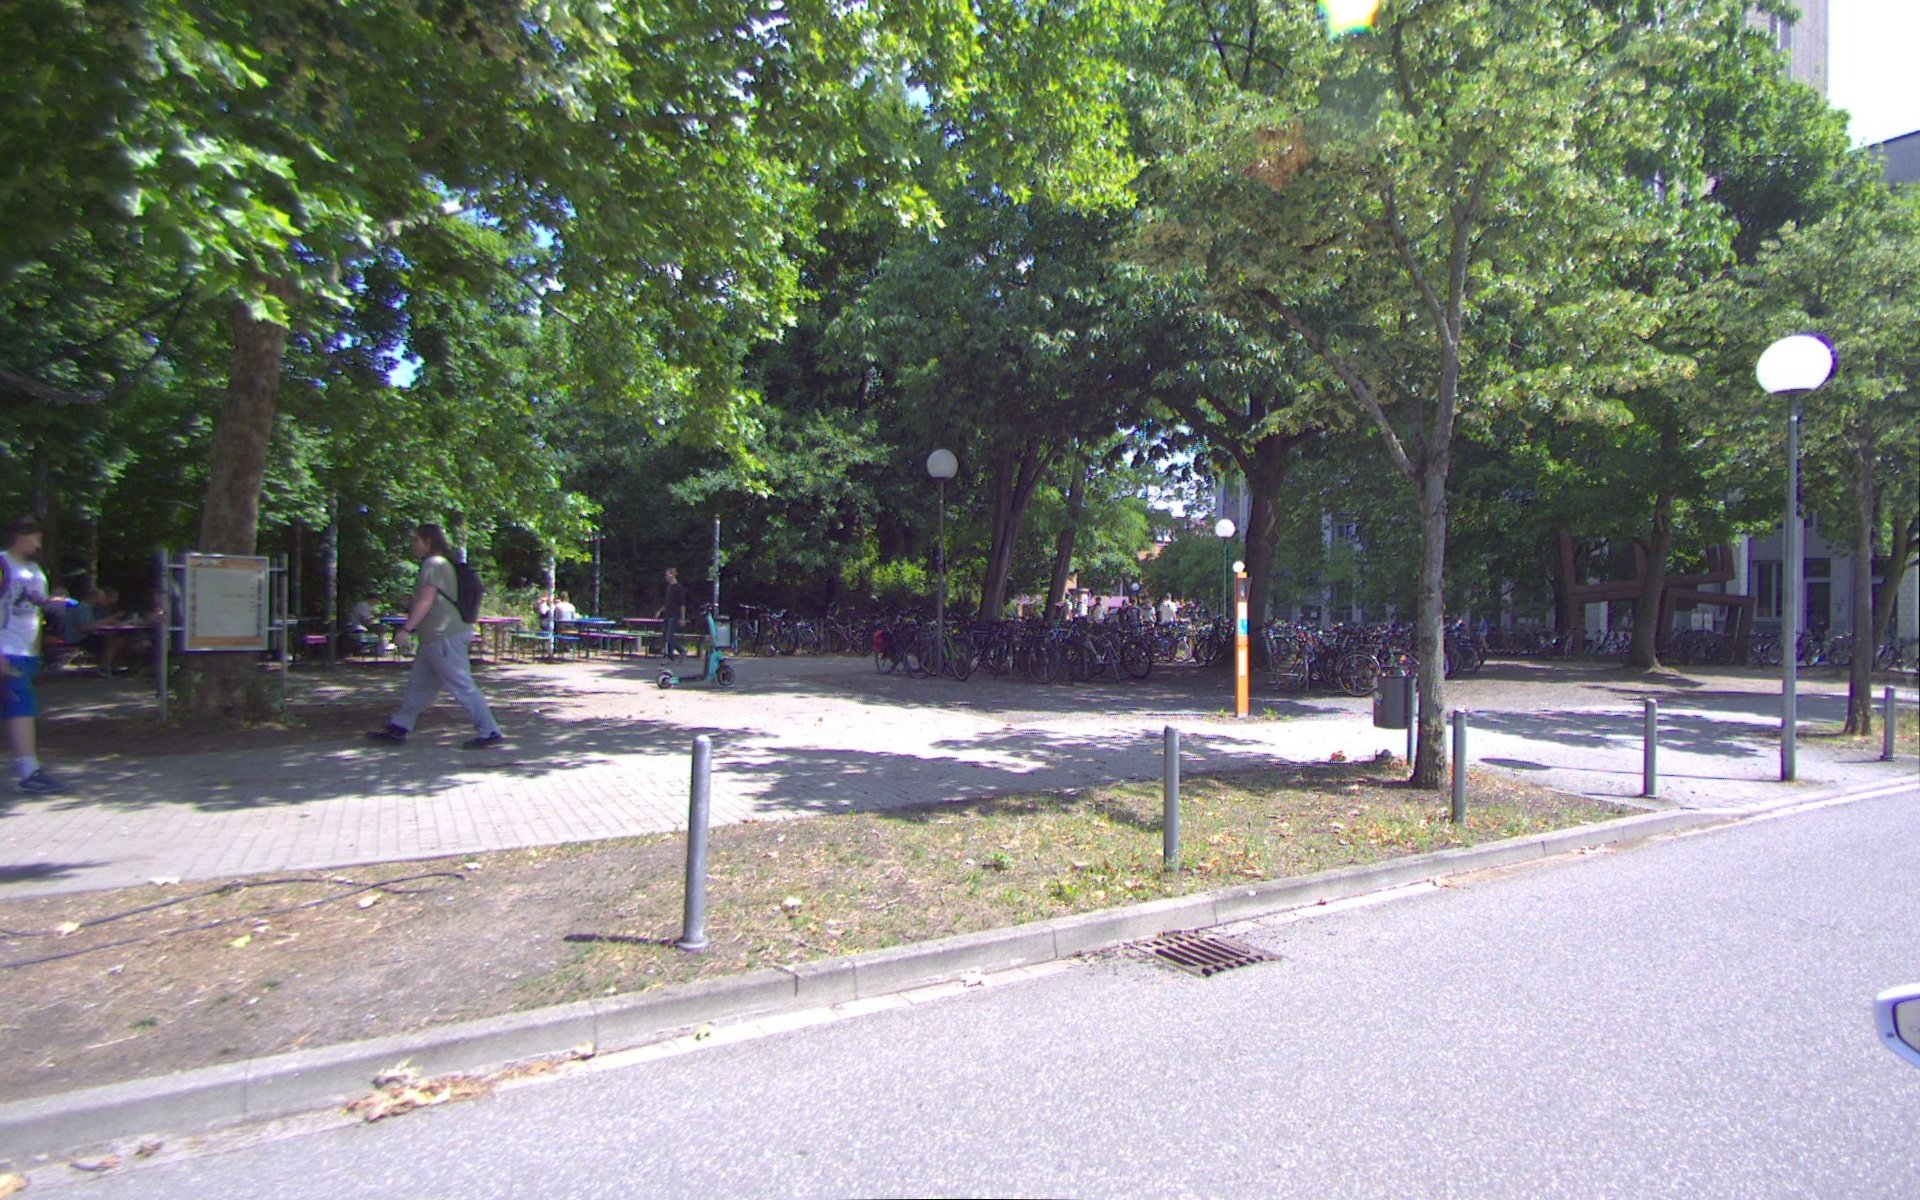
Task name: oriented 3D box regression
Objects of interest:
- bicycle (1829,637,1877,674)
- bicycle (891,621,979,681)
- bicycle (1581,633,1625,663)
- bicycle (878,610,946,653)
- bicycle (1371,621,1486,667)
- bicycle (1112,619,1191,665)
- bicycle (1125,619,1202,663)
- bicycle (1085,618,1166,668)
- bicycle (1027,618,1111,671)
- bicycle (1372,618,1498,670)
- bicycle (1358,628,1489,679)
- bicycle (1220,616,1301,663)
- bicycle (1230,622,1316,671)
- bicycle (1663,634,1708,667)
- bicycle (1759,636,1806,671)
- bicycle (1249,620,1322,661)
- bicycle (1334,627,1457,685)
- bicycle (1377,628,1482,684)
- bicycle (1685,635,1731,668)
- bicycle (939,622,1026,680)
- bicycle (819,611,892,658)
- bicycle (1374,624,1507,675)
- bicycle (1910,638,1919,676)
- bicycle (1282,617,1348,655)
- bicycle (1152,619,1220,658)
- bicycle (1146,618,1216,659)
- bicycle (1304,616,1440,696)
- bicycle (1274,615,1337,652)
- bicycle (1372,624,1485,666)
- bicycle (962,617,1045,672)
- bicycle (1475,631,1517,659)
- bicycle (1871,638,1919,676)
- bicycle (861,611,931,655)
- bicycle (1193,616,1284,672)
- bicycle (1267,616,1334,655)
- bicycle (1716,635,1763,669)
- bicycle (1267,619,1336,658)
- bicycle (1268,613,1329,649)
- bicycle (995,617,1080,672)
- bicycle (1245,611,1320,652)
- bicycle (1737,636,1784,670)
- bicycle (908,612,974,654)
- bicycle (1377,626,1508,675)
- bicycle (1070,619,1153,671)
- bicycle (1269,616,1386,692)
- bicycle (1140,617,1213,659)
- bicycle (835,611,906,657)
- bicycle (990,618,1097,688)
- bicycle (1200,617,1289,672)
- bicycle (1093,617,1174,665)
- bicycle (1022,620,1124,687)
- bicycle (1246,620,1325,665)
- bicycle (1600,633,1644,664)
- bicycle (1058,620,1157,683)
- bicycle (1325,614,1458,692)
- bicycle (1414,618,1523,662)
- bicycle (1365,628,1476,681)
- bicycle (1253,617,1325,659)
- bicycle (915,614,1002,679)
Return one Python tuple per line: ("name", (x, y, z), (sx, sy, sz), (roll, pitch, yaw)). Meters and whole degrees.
("bicycle", (28.304, 1.755, 31.822), (1.950, 1.101, 0.549), (1, 1, -31))
("bicycle", (-0.497, 0.933, 18.938), (0.533, 1.016, 1.944), (1, 0, -40))
("bicycle", (24.398, 1.826, 38.102), (1.950, 1.101, 0.549), (1, 1, -31))
("bicycle", (-1.339, 0.873, 27.825), (1.927, 1.106, 0.595), (2, -1, 38))
("bicycle", (13.244, 1.233, 28.497), (2.826, 1.193, 0.883), (1, 0, 17))
("bicycle", (4.981, 1.065, 26.127), (1.933, 1.104, 0.546), (1, 0, 31))
("bicycle", (5.496, 1.102, 27.175), (1.933, 1.104, 0.546), (1, 0, 31))
("bicycle", (3.972, 1.004, 24.184), (1.940, 1.104, 0.544), (1, 0, 43))
("bicycle", (2.439, 0.984, 22.661), (1.940, 1.104, 0.544), (1, 0, 43))
("bicycle", (12.349, 1.133, 26.218), (2.850, 1.237, 0.883), (1, 0, 17))
("bicycle", (10.450, 1.191, 22.735), (2.598, 1.022, 0.678), (1, 0, 17))
("bicycle", (8.096, 1.038, 27.102), (2.021, 1.173, 0.639), (1, 1, 25))
("bicycle", (8.019, 1.174, 25.723), (2.021, 1.147, 0.639), (1, 1, 25))
("bicycle", (25.617, 1.779, 35.455), (1.950, 1.101, 0.549), (1, 1, -31))
("bicycle", (27.116, 1.753, 33.098), (1.950, 1.101, 0.549), (1, 1, -31))
("bicycle", (9.774, 1.195, 30.201), (2.021, 1.147, 0.639), (1, 1, 25))
("bicycle", (8.429, 1.060, 19.460), (2.115, 1.022, 0.676), (1, 0, 30))
("bicycle", (9.523, 1.118, 20.383), (1.858, 1.022, 0.676), (1, 0, 30))
("bicycle", (25.973, 1.771, 34.855), (1.950, 1.101, 0.549), (1, 1, -31))
("bicycle", (0.422, 0.974, 19.740), (0.533, 1.041, 1.944), (1, 0, -40))
("bicycle", (-2.657, 0.860, 25.382), (1.927, 1.106, 0.595), (2, -1, 38))
("bicycle", (11.290, 1.147, 23.714), (2.696, 1.101, 0.883), (1, 0, 17))
("bicycle", (28.907, 1.705, 29.786), (1.950, 1.101, 0.549), (1, 1, -31))
("bicycle", (12.059, 1.216, 34.147), (2.021, 1.147, 0.639), (4, 1, 25))
("bicycle", (6.873, 1.164, 30.562), (1.933, 1.104, 0.546), (1, 0, 31))
("bicycle", (6.471, 1.106, 29.435), (1.933, 1.104, 0.546), (1, 0, 31))
("bicycle", (7.180, 0.944, 17.556), (2.031, 1.251, 0.804), (2, 0, 43))
("bicycle", (12.336, 1.177, 35.873), (2.021, 1.147, 0.674), (4, 2, 25))
("bicycle", (12.754, 1.207, 27.439), (2.679, 1.016, 0.883), (1, 0, 17))
("bicycle", (0.886, 0.903, 20.930), (0.533, 1.041, 1.944), (1, 0, -40))
("bicycle", (22.076, 1.851, 41.367), (1.950, 1.101, 0.549), (1, 1, -31))
("bicycle", (28.601, 1.726, 30.708), (1.950, 1.101, 0.549), (1, 1, -31))
("bicycle", (-1.714, 0.876, 26.862), (1.927, 1.106, 0.595), (2, -1, 38))
("bicycle", (6.738, 1.043, 24.294), (2.021, 1.251, 0.639), (1, 1, 25))
("bicycle", (11.260, 1.162, 33.232), (2.021, 1.147, 0.639), (3, 2, 25))
("bicycle", (26.578, 1.773, 34.239), (1.950, 1.101, 0.549), (1, 1, -31))
("bicycle", (10.953, 1.221, 32.192), (2.021, 1.147, 0.639), (1, 1, 25))
("bicycle", (12.487, 1.124, 37.061), (2.021, 1.147, 0.639), (4, 2, 25))
("bicycle", (1.674, 0.955, 21.945), (1.939, 1.104, 0.534), (1, 0, 43))
("bicycle", (9.404, 0.907, 29.281), (2.021, 1.147, 0.639), (1, 1, 25))
("bicycle", (26.792, 1.759, 33.610), (1.950, 1.101, 0.549), (1, 1, -31))
("bicycle", (-0.554, 0.935, 28.671), (1.927, 1.106, 0.595), (2, -1, 38))
("bicycle", (11.790, 1.226, 24.636), (2.777, 1.064, 0.883), (1, 0, 17))
("bicycle", (3.484, 1.025, 23.249), (1.940, 1.104, 0.544), (1, 0, 43))
("bicycle", (6.014, 0.865, 16.518), (1.753, 1.147, 0.456), (1, 0, 43))
("bicycle", (6.100, 1.052, 28.363), (1.933, 1.104, 0.546), (1, 0, 31))
("bicycle", (-2.343, 0.864, 26.145), (1.927, 1.106, 0.595), (2, -1, 38))
("bicycle", (1.427, 0.891, 17.391), (1.832, 1.104, 0.545), (1, 0, 39))
("bicycle", (7.046, 1.079, 24.922), (2.021, 1.251, 0.639), (2, 1, 25))
("bicycle", (4.382, 1.017, 25.370), (1.933, 1.104, 0.546), (1, 0, 31))
("bicycle", (2.047, 0.953, 18.397), (1.832, 1.104, 0.545), (1, 0, 39))
("bicycle", (9.088, 1.161, 28.055), (2.021, 1.147, 0.639), (1, 1, 25))
("bicycle", (24.599, 1.805, 37.311), (1.950, 1.101, 0.549), (1, 1, -31))
("bicycle", (2.805, 0.957, 19.203), (1.832, 1.104, 0.545), (1, 0, 39))
("bicycle", (7.827, 0.936, 18.276), (2.031, 1.251, 0.804), (3, 1, 43))
("bicycle", (16.463, 1.281, 32.606), (3.021, 1.314, 0.883), (1, 0, 17))
("bicycle", (9.892, 1.143, 21.609), (2.115, 1.022, 0.677), (1, 0, 30))
("bicycle", (10.245, 1.172, 31.277), (2.021, 1.147, 0.639), (4, 2, 25))
("bicycle", (-0.051, 0.862, 19.336), (0.533, 1.141, 1.944), (1, 0, -40))
